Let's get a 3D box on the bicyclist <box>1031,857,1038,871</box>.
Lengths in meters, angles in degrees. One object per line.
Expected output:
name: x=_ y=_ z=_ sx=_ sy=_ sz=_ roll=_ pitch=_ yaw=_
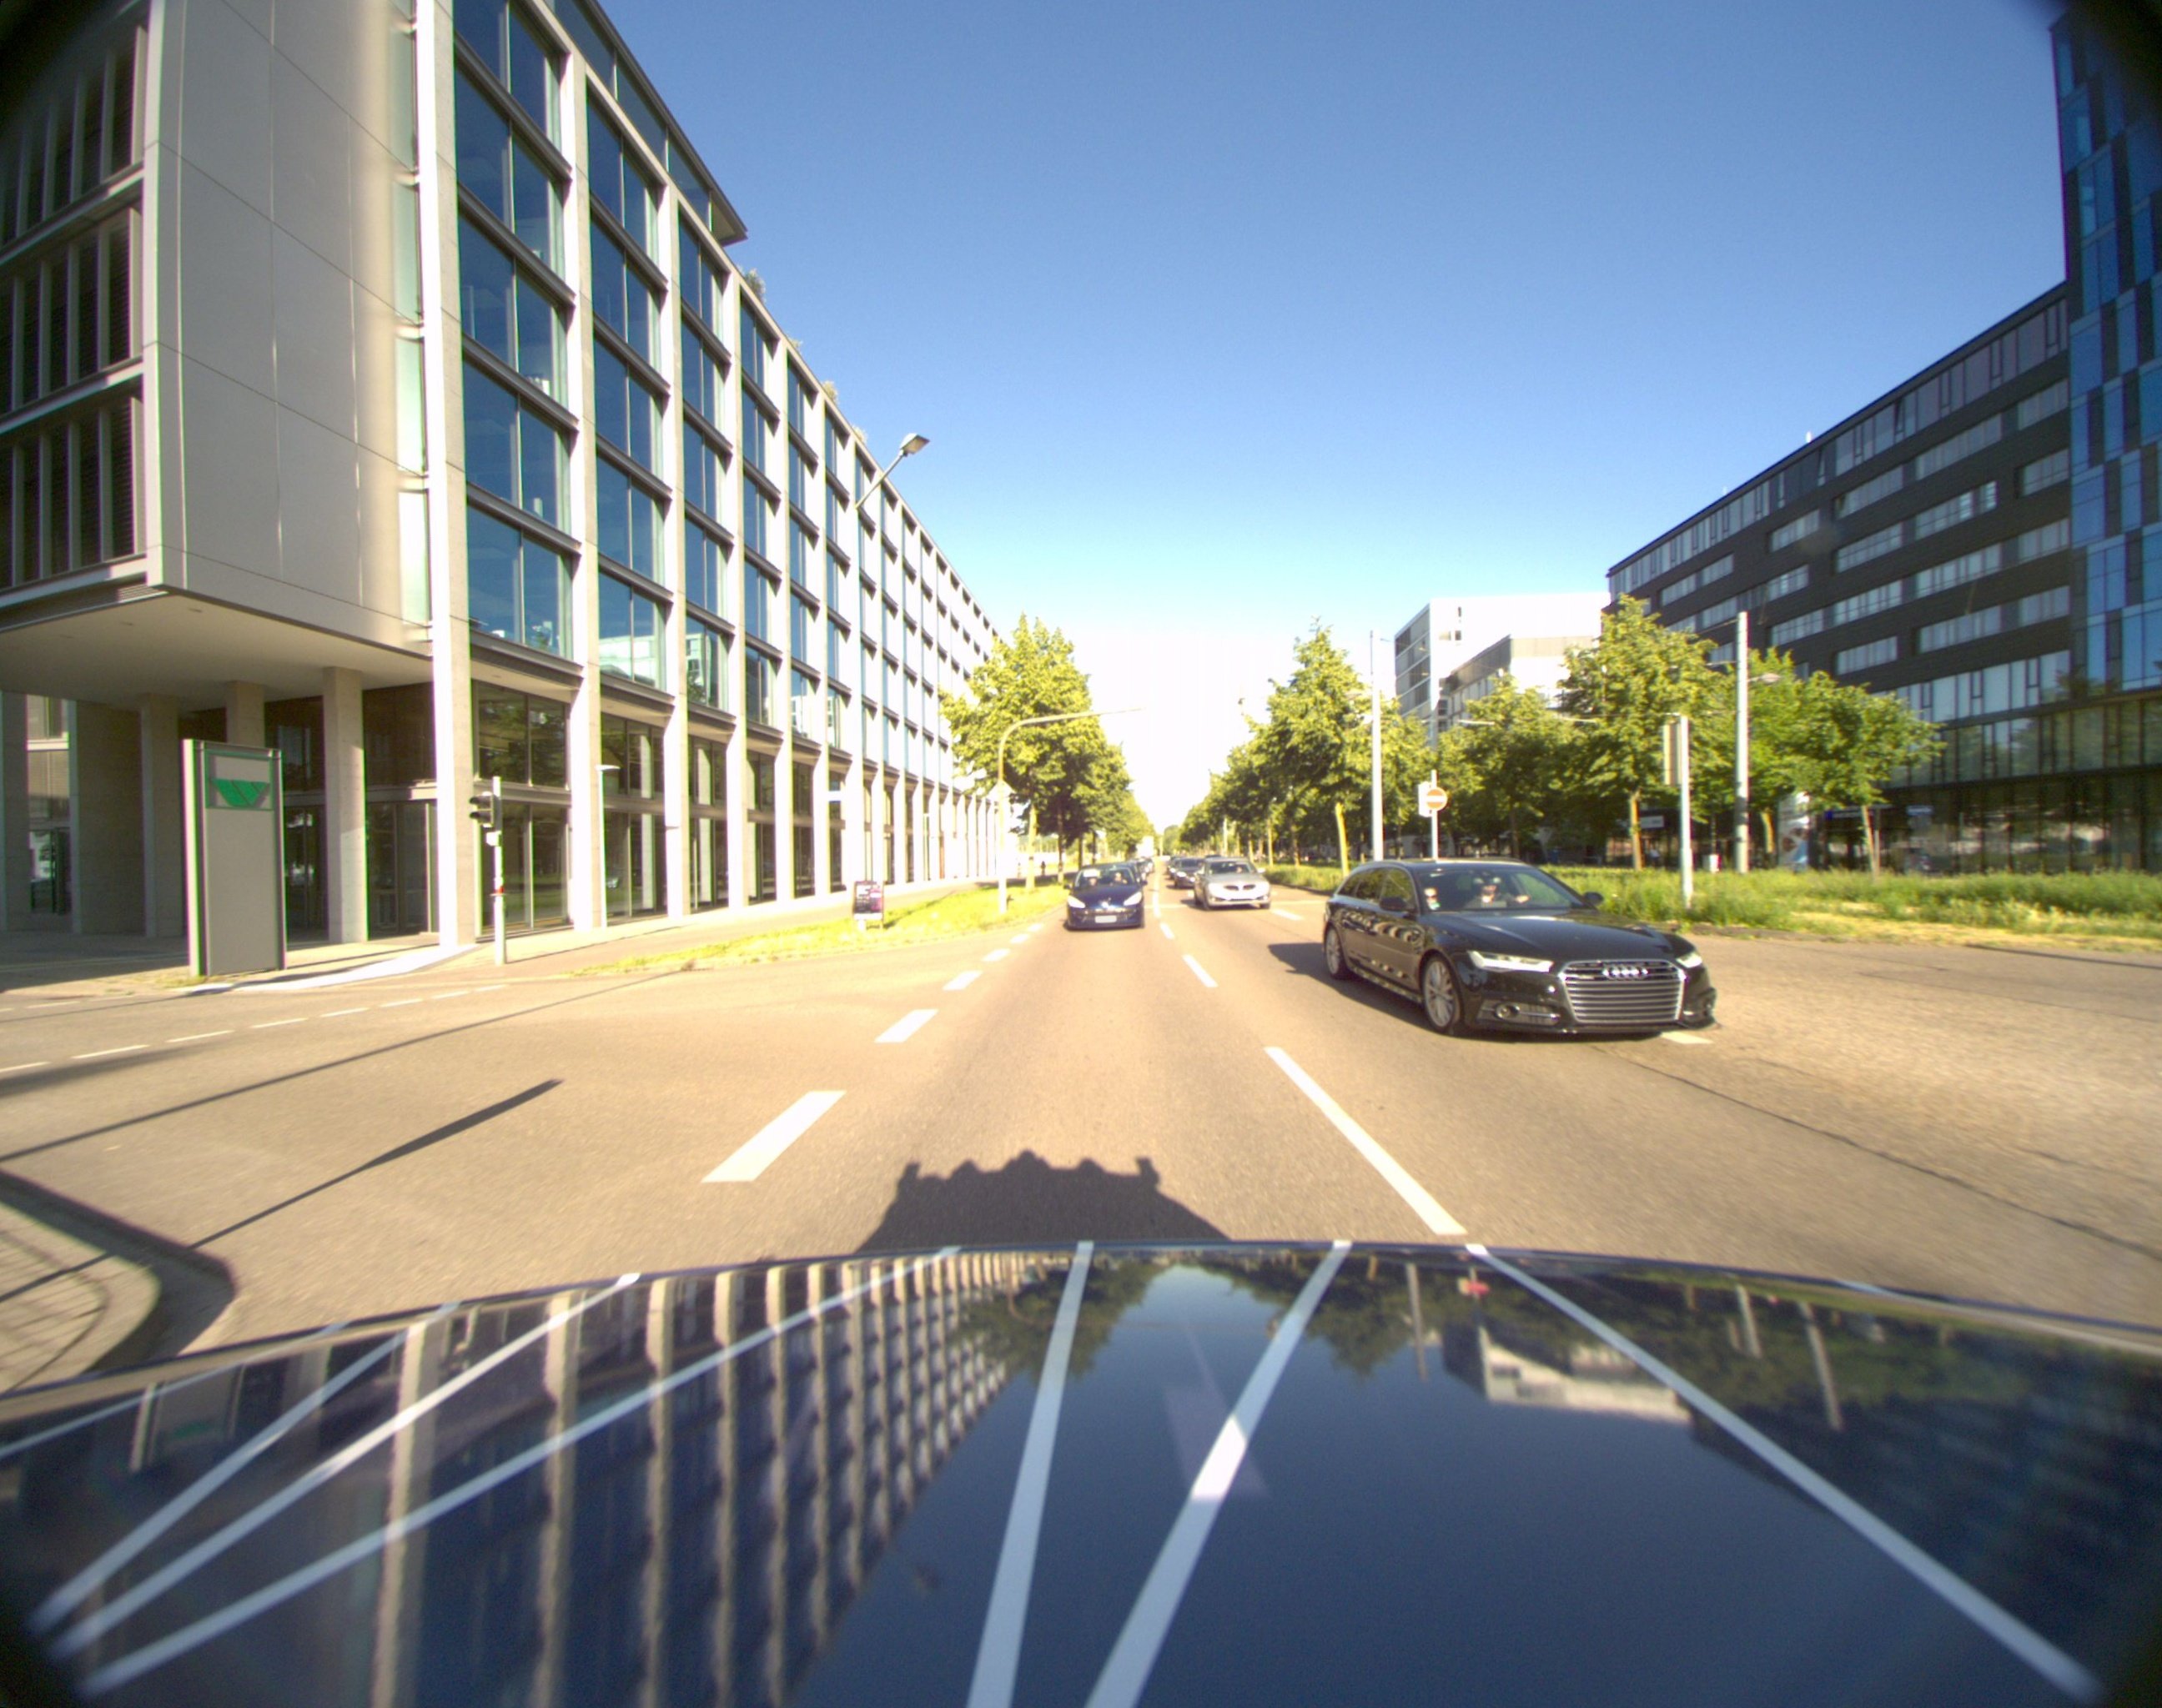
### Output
bicyclist: x=-4.120 y=0.894 z=67.492 sx=0.534 sy=1.210 sz=0.508 roll=-2 pitch=1 yaw=7

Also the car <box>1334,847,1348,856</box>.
car: x=46.983 y=-0.415 z=137.213 sx=1.601 sy=1.659 sz=3.745 roll=-1 pitch=0 yaw=6

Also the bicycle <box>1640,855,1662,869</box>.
bicycle: x=45.093 y=0.655 z=60.103 sx=0.528 sy=1.028 sz=1.848 roll=-2 pitch=1 yaw=6

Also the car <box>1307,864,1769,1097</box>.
car: x=3.734 y=0.880 z=7.352 sx=1.812 sy=1.448 sz=4.508 roll=-2 pitch=0 yaw=1

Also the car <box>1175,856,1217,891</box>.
car: x=5.482 y=0.893 z=36.651 sx=1.812 sy=1.514 sz=4.030 roll=-1 pitch=0 yaw=6

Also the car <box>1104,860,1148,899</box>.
car: x=1.974 y=1.038 z=32.375 sx=1.611 sy=1.463 sz=4.397 roll=-1 pitch=0 yaw=6

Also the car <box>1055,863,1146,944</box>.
car: x=0.539 y=1.015 z=17.100 sx=1.685 sy=1.513 sz=3.787 roll=-2 pitch=0 yaw=6

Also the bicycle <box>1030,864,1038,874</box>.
bicycle: x=-4.158 y=1.358 z=67.436 sx=0.464 sy=0.813 sz=1.345 roll=-2 pitch=1 yaw=7

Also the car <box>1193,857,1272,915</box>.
car: x=4.392 y=0.875 z=22.688 sx=1.812 sy=1.480 sz=4.744 roll=-1 pitch=0 yaw=5

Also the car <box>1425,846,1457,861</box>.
car: x=42.055 y=-0.097 z=88.844 sx=1.857 sy=1.674 sz=4.794 roll=-1 pitch=0 yaw=6

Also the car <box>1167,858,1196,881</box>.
car: x=6.814 y=1.015 z=51.705 sx=1.811 sy=1.445 sz=4.256 roll=-1 pitch=0 yaw=7

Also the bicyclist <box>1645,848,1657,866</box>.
bicyclist: x=45.057 y=0.197 z=60.075 sx=0.493 sy=1.398 sz=0.626 roll=-2 pitch=1 yaw=6

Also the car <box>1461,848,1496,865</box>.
car: x=41.097 y=0.260 z=78.642 sx=1.857 sy=1.739 sz=4.002 roll=-1 pitch=0 yaw=6

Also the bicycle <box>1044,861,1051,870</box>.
bicycle: x=-3.184 y=1.095 z=72.246 sx=0.464 sy=0.813 sz=1.345 roll=-2 pitch=1 yaw=7

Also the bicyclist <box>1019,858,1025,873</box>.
bicyclist: x=-5.246 y=1.009 z=67.892 sx=0.448 sy=1.282 sz=0.418 roll=-2 pitch=1 yaw=7

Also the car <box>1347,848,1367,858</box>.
car: x=45.925 y=-0.211 z=126.627 sx=2.011 sy=1.689 sz=4.794 roll=-1 pitch=0 yaw=5

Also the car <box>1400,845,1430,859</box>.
car: x=43.434 y=-0.268 z=98.886 sx=2.011 sy=1.689 sz=4.793 roll=-1 pitch=0 yaw=3

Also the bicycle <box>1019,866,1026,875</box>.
bicycle: x=-5.225 y=1.478 z=67.996 sx=0.415 sy=0.813 sz=1.320 roll=-2 pitch=1 yaw=7
